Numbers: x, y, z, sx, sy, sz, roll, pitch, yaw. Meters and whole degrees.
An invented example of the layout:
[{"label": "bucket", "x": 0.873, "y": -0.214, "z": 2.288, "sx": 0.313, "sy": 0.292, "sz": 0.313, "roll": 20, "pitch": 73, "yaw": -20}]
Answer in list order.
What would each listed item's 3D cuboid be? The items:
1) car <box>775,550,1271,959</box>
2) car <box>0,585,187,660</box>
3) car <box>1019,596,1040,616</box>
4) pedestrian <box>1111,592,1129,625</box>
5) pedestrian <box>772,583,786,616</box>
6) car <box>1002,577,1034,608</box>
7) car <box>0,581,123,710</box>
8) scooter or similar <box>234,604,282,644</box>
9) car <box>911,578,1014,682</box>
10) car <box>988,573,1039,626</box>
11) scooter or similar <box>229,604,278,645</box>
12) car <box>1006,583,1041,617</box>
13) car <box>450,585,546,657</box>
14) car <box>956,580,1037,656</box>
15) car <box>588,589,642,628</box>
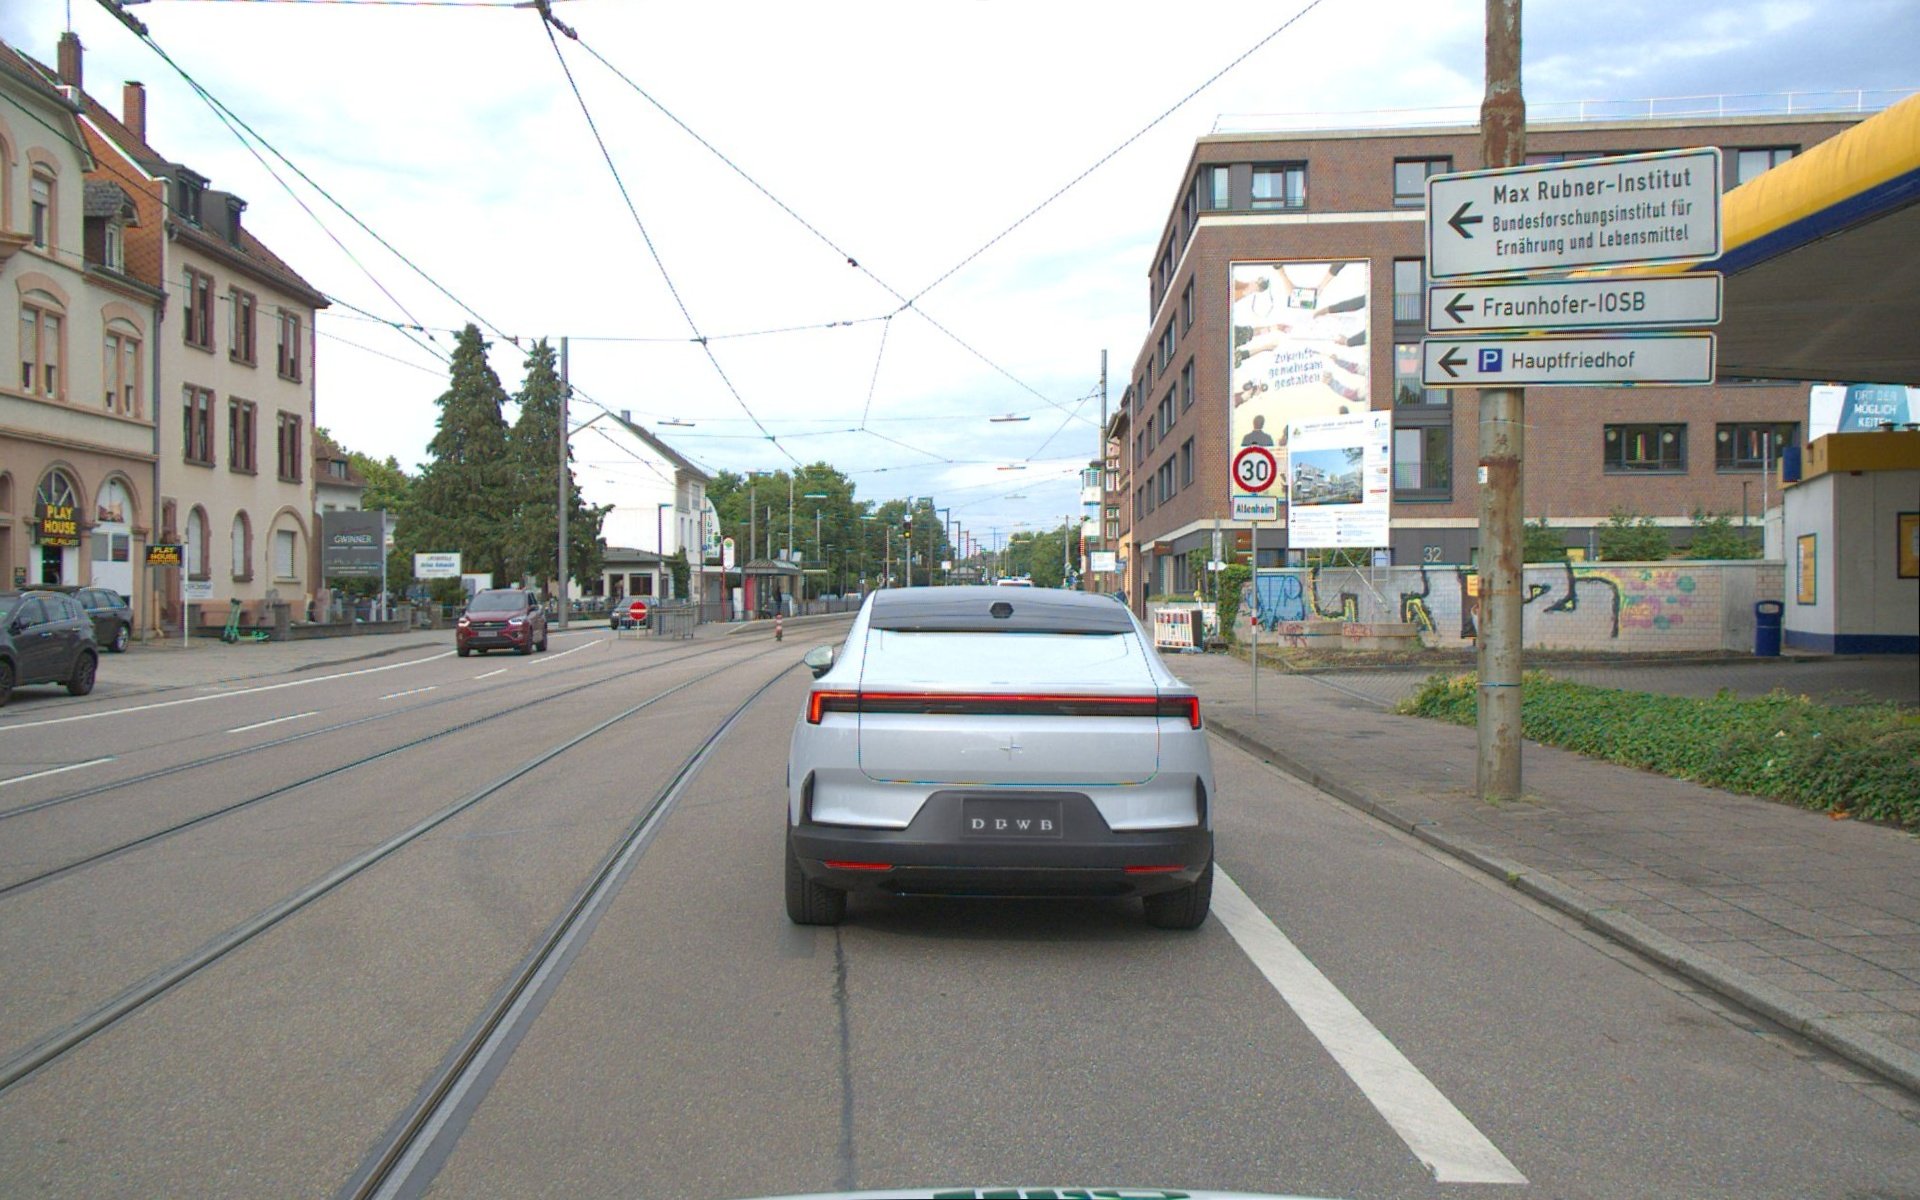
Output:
[{"label": "car", "x": 0.193, "y": 0.632, "z": 8.594, "sx": 1.959, "sy": 1.608, "sz": 3.998, "roll": 1, "pitch": 0, "yaw": -2}, {"label": "car", "x": -18.972, "y": 0.456, "z": 36.185, "sx": 1.953, "sy": 1.519, "sz": 4.900, "roll": 0, "pitch": 0, "yaw": -2}, {"label": "car", "x": 7.366, "y": 0.620, "z": 175.522, "sx": 1.953, "sy": 2.049, "sz": 3.999, "roll": 1, "pitch": 0, "yaw": -1}, {"label": "pedestrian", "x": 9.497, "y": 0.497, "z": 97.954, "sx": 0.940, "sy": 1.882, "sz": 0.976, "roll": -2, "pitch": 1, "yaw": 8}, {"label": "pedestrian", "x": -9.546, "y": -0.031, "z": 87.358, "sx": 0.602, "sy": 1.694, "sz": 0.698, "roll": 1, "pitch": 0, "yaw": 5}, {"label": "car", "x": 3.946, "y": -0.466, "z": 112.741, "sx": 1.953, "sy": 2.049, "sz": 3.999, "roll": 1, "pitch": 0, "yaw": -1}, {"label": "car", "x": -14.932, "y": 0.637, "z": 25.484, "sx": 1.997, "sy": 1.780, "sz": 4.531, "roll": 2, "pitch": 1, "yaw": -5}, {"label": "scooter or similar", "x": -19.628, "y": 0.676, "z": 46.272, "sx": 1.162, "sy": 1.121, "sz": 0.522, "roll": 1, "pitch": -1, "yaw": -32}, {"label": "car", "x": 0.111, "y": 0.507, "z": 29.565, "sx": 1.646, "sy": 1.717, "sz": 3.825, "roll": 1, "pitch": 0, "yaw": 3}, {"label": "car", "x": 2.550, "y": -0.009, "z": 79.926, "sx": 2.181, "sy": 2.444, "sz": 5.122, "roll": 1, "pitch": 0, "yaw": -1}, {"label": "scooter or similar", "x": -19.423, "y": 0.676, "z": 45.460, "sx": 1.162, "sy": 1.121, "sz": 0.522, "roll": 1, "pitch": -1, "yaw": -32}, {"label": "car", "x": 3.895, "y": 0.000, "z": 102.669, "sx": 1.953, "sy": 2.049, "sz": 3.999, "roll": 1, "pitch": 0, "yaw": -1}, {"label": "car", "x": -11.889, "y": 0.517, "z": 42.812, "sx": 1.808, "sy": 1.754, "sz": 4.399, "roll": 0, "pitch": 0, "yaw": -8}, {"label": "car", "x": 0.894, "y": 0.443, "z": 42.809, "sx": 1.953, "sy": 1.847, "sz": 3.999, "roll": -1, "pitch": 0, "yaw": -1}, {"label": "car", "x": -14.929, "y": 0.360, "z": 71.765, "sx": 1.755, "sy": 1.556, "sz": 4.136, "roll": -2, "pitch": 0, "yaw": -5}]
